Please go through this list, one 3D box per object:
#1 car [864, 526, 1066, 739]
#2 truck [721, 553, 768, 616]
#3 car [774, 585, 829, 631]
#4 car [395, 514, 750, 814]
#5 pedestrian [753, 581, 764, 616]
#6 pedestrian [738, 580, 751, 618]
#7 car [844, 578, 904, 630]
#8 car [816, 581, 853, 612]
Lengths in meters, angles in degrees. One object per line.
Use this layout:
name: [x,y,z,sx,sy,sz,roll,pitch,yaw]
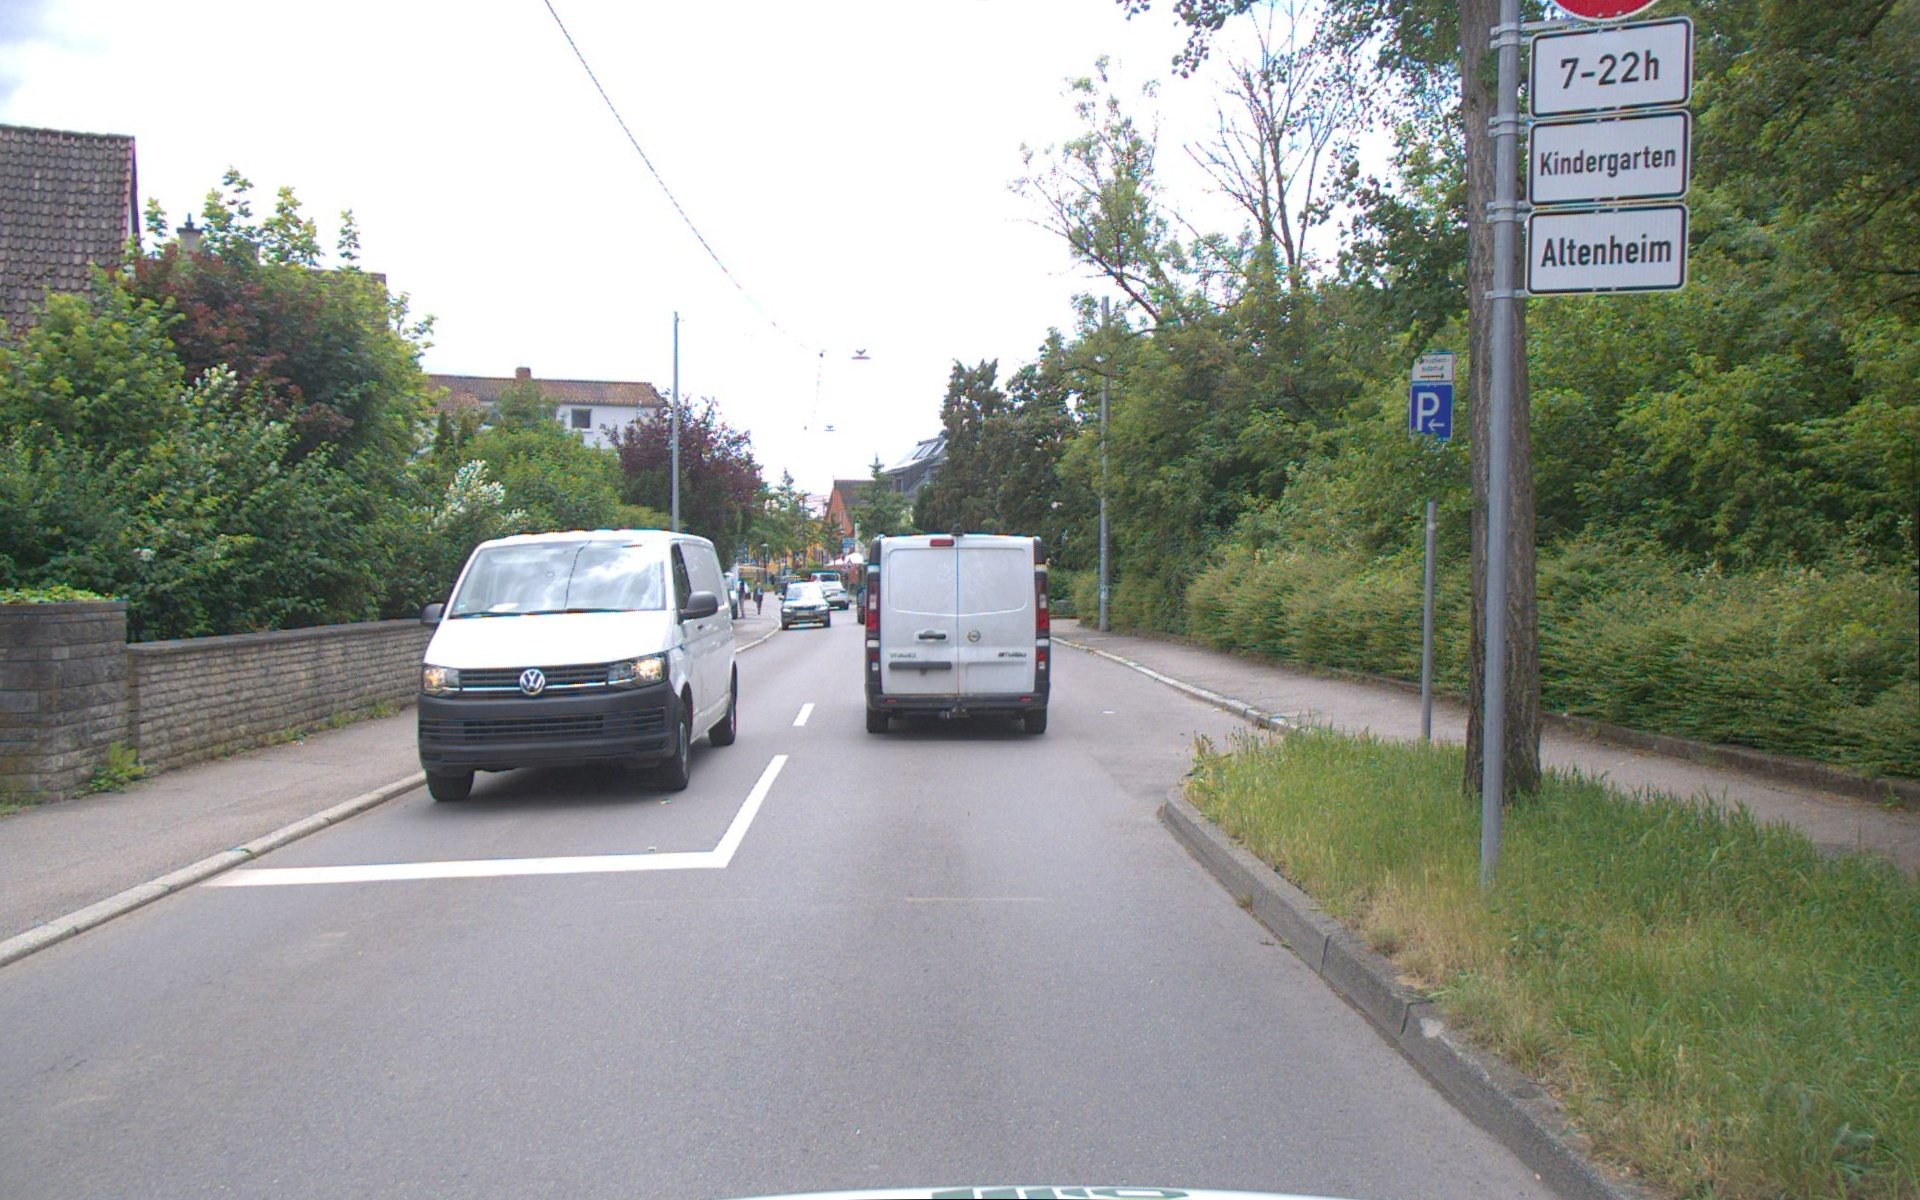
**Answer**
car: [-0.042,0.296,17.759,1.891,1.998,4.400,0,0,-2]
truck: [-9.722,-0.700,74.918,1.955,2.730,3.995,2,1,-6]
car: [-5.828,0.273,60.424,1.847,1.538,4.107,-2,1,-7]
car: [-2.940,0.382,13.752,1.830,1.944,5.114,-3,1,-2]
pedestrian: [-10.705,-0.097,87.828,0.504,1.828,0.542,2,0,-6]
pedestrian: [-10.068,-0.059,77.197,0.411,1.744,0.451,0,0,41]
car: [-3.263,0.144,63.246,1.857,1.892,4.406,0,0,3]
car: [-7.353,-0.233,96.619,1.792,1.758,3.991,0,0,-9]
